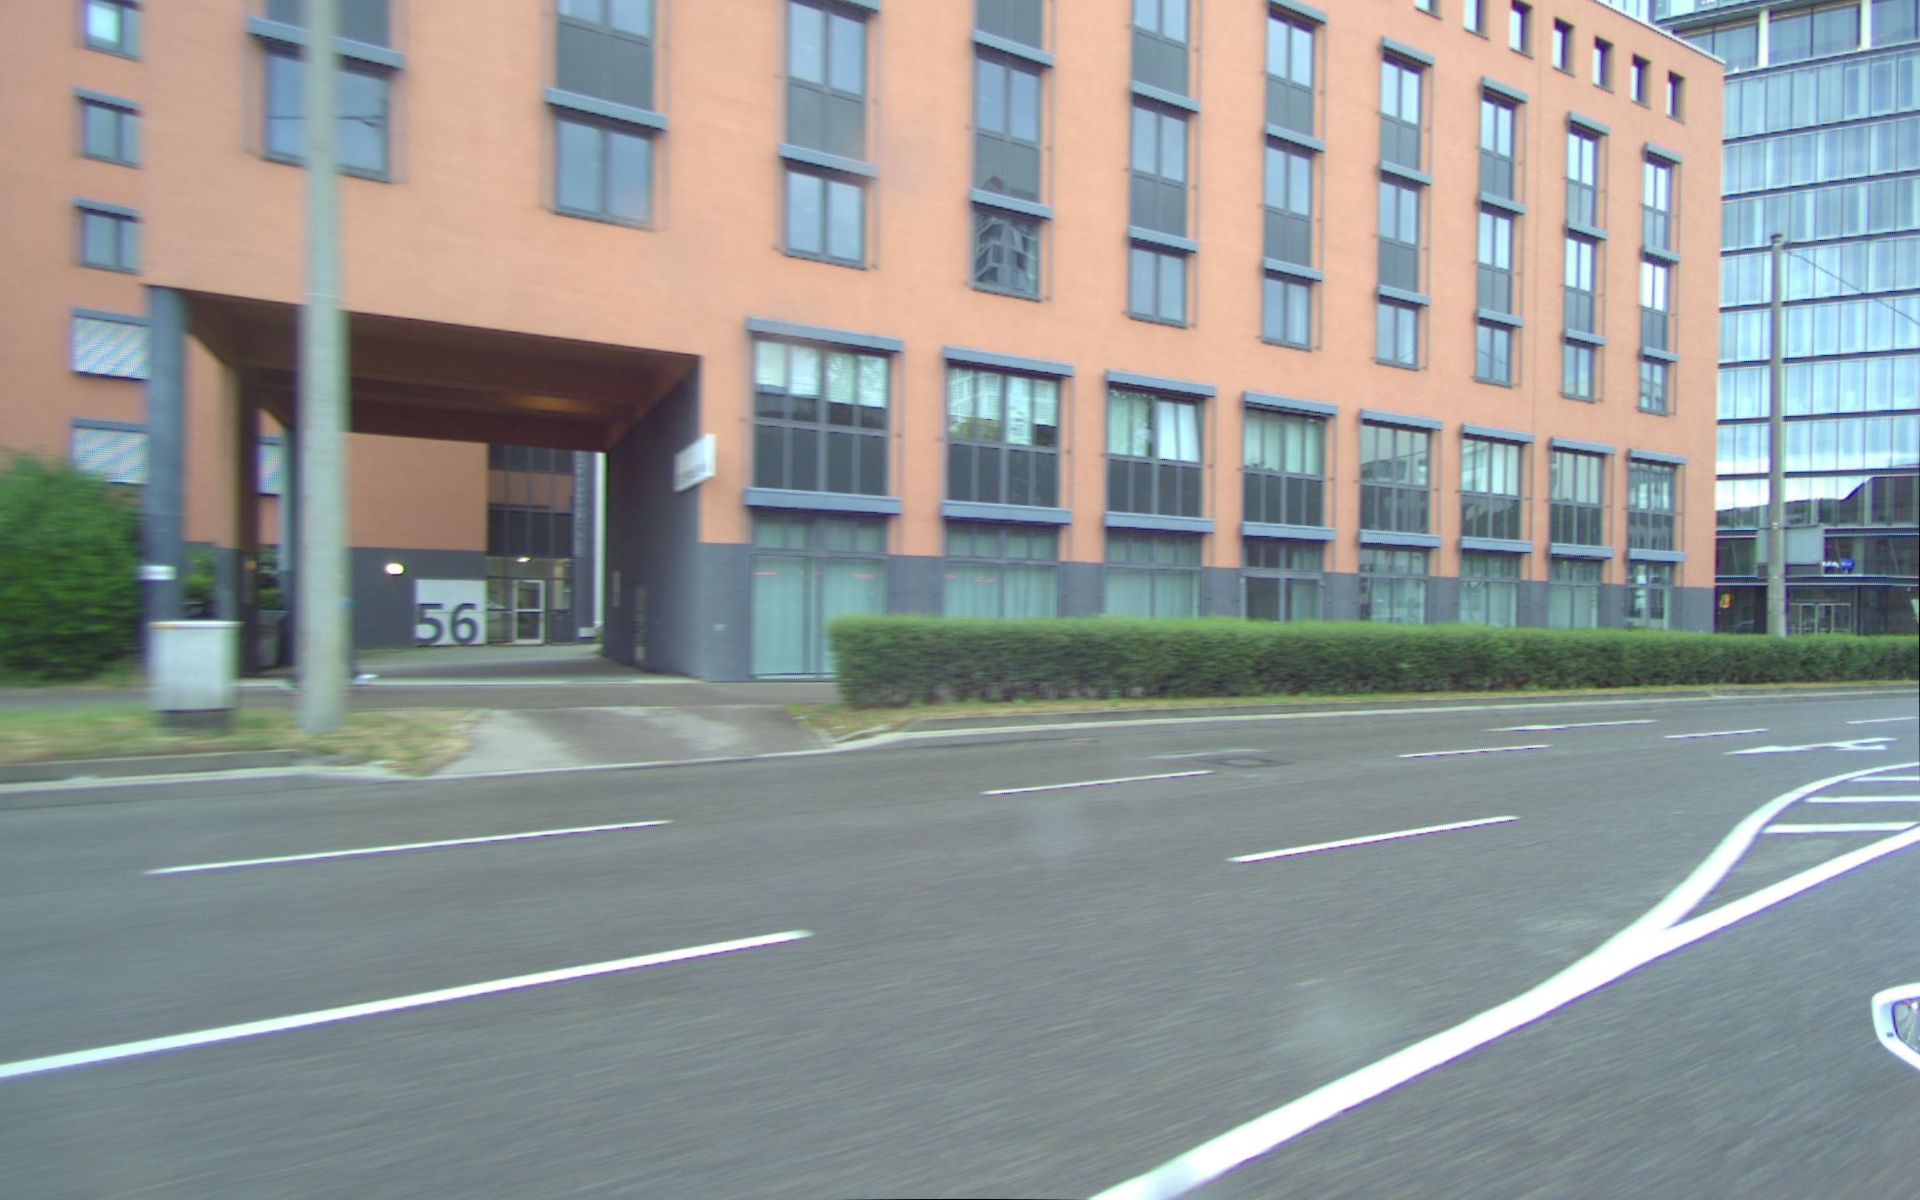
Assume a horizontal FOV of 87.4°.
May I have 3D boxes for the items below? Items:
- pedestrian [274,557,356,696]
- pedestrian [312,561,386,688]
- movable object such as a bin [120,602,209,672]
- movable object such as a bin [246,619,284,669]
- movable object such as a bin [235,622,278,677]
[{"bbox_3d":[-9.021,0.359,14.081,0.874,1.865,0.743,1,1,-28],"label":"pedestrian"},{"bbox_3d":[-9.292,0.357,15.300,0.874,1.865,0.743,1,1,-28],"label":"pedestrian"},{"bbox_3d":[-14.887,0.687,18.834,1.196,1.264,0.776,1,0,-31],"label":"movable object such as a bin"},{"bbox_3d":[-17.637,1.109,25.502,0.665,1.219,1.201,1,0,-29],"label":"movable object such as a bin"},{"bbox_3d":[-16.409,1.136,23.447,0.665,1.219,1.201,1,0,-29],"label":"movable object such as a bin"}]
